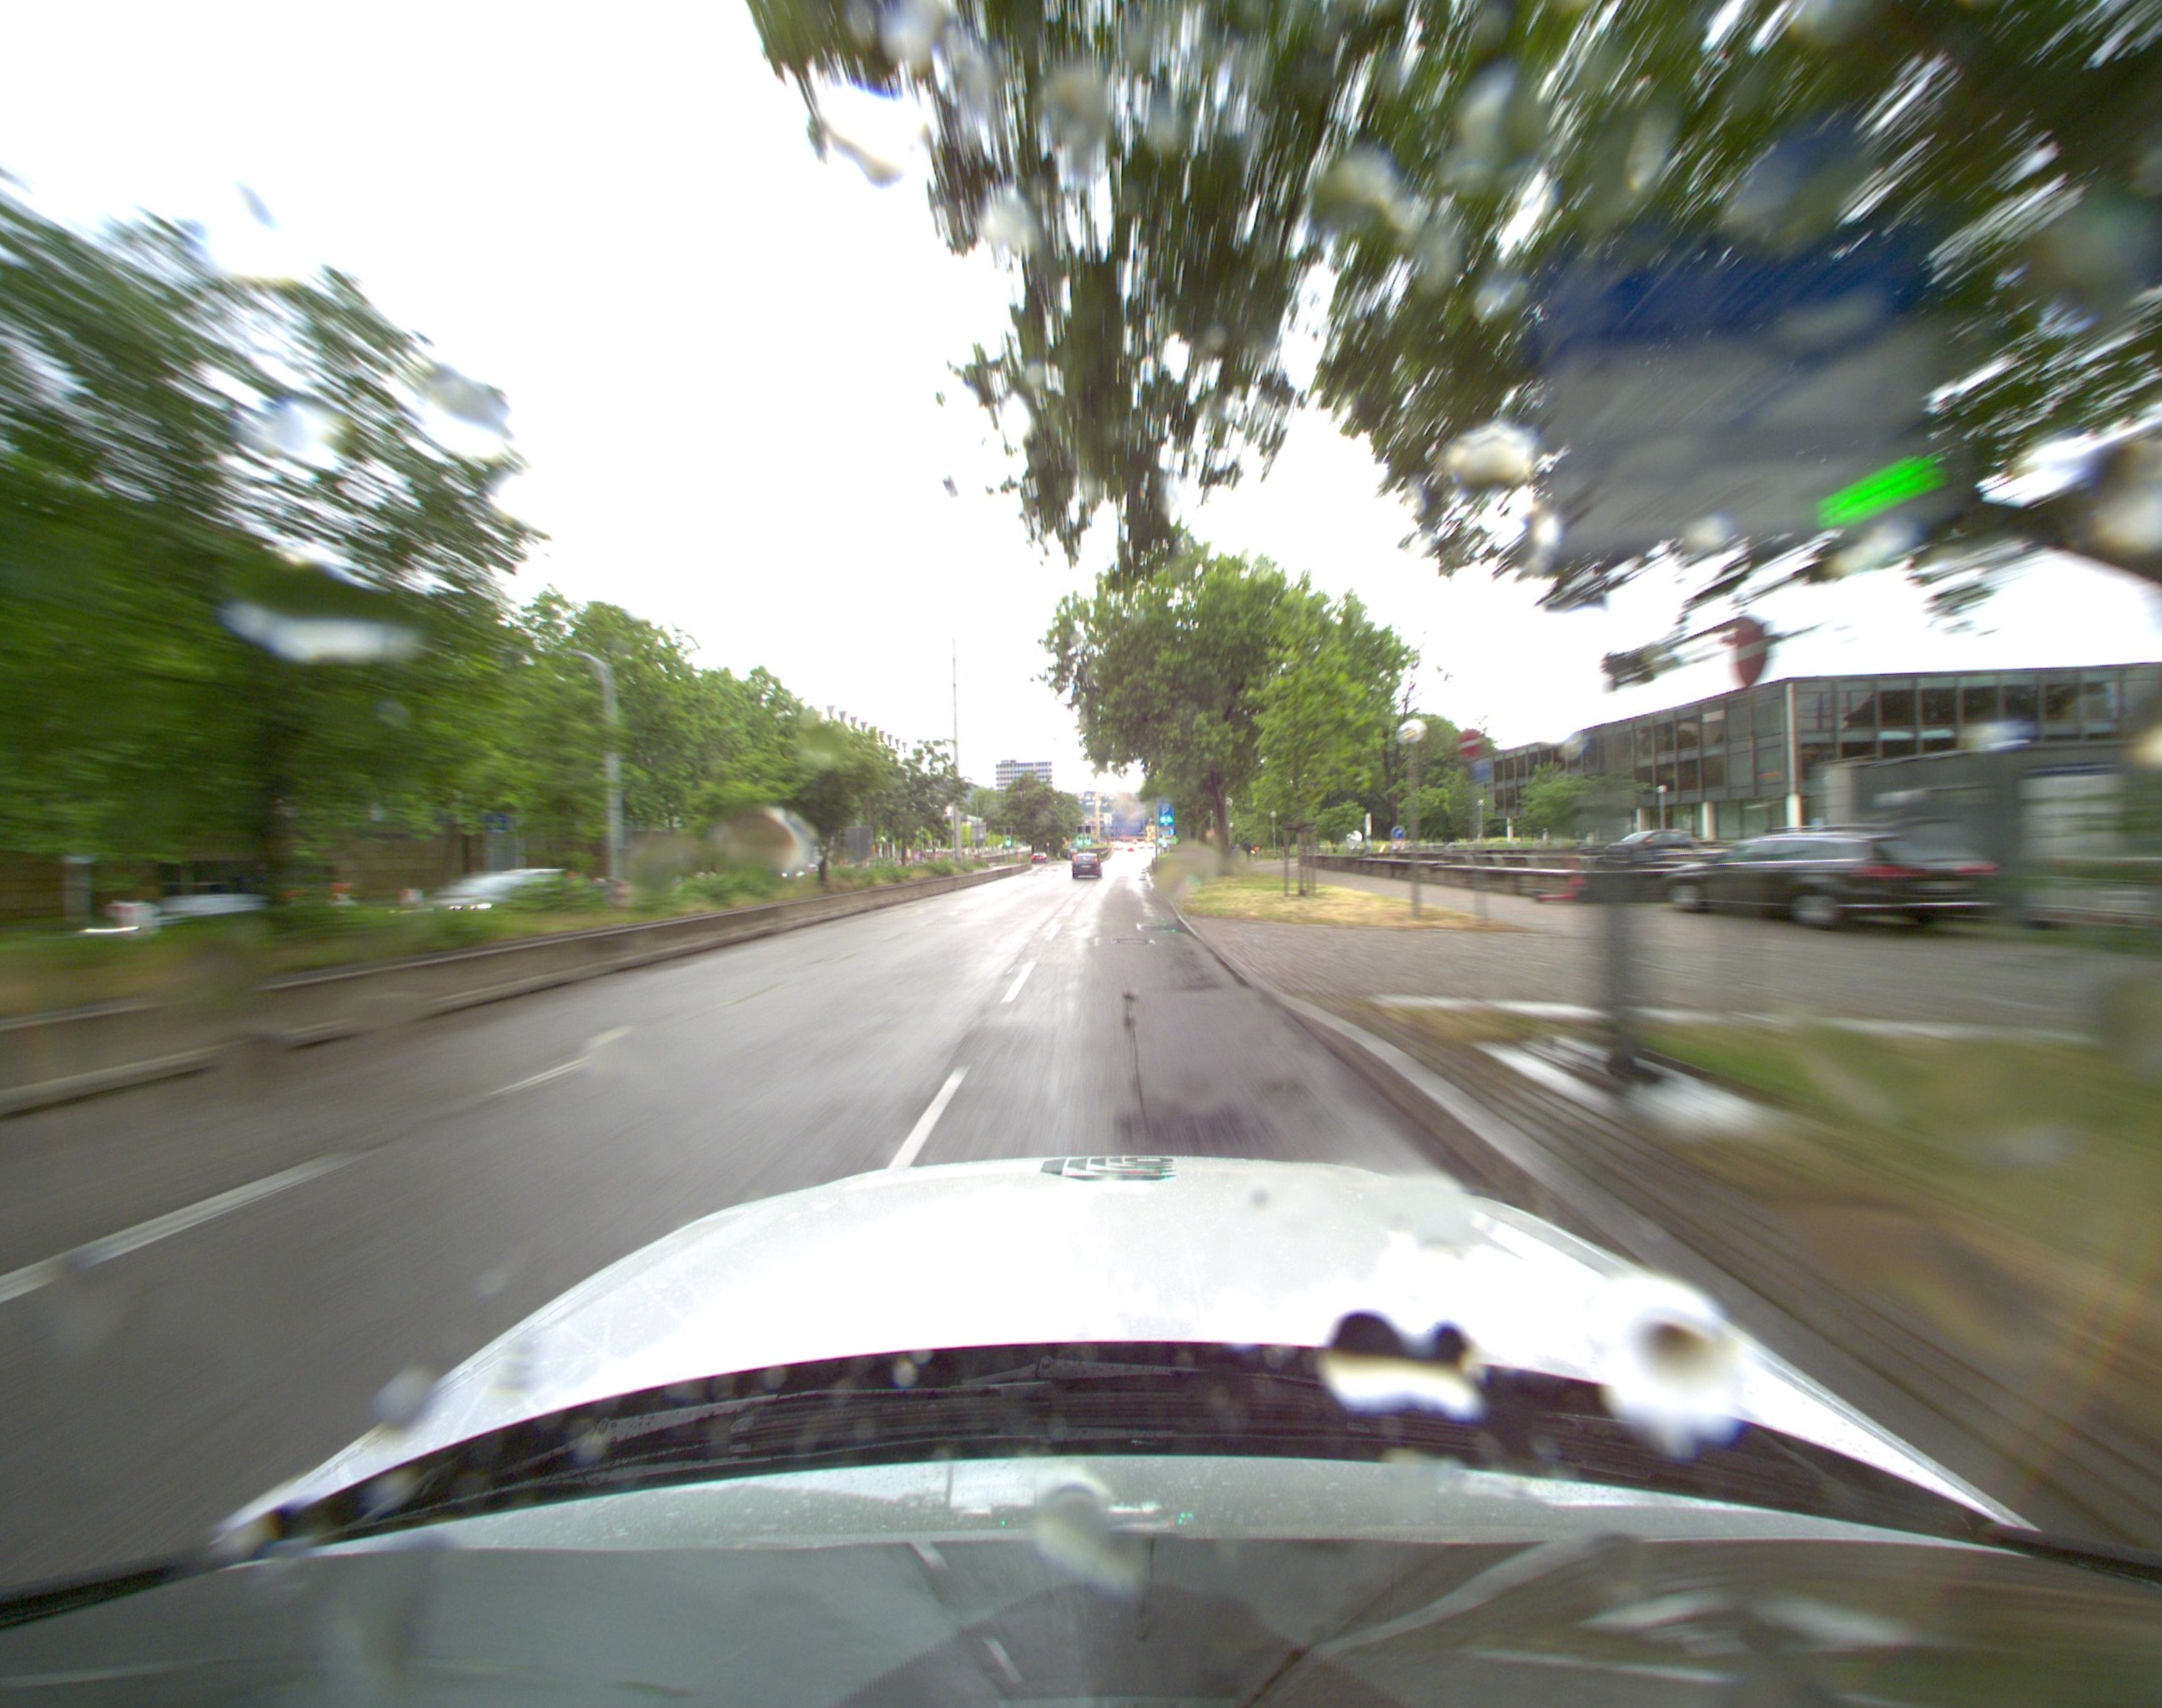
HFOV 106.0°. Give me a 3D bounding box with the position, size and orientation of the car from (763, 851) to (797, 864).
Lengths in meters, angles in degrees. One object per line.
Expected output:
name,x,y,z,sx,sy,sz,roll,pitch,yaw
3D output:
car,-42.937,0.486,116.109,3.973,1.596,2.000,-2,0,0

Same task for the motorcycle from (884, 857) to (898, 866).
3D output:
motorcycle,-27.299,1.077,116.845,1.843,1.154,0.423,-3,0,-25

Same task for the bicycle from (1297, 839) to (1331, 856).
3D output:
bicycle,16.441,-0.469,57.527,2.033,1.173,0.957,-2,1,-8

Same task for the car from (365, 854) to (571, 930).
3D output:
car,-14.786,0.845,19.985,1.988,1.596,3.998,-2,0,-1

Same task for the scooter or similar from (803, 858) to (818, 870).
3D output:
scooter or similar,-33.403,1.222,100.614,0.706,1.351,1.684,-4,-1,23

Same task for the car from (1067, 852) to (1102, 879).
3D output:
car,0.174,0.660,47.814,1.839,1.416,3.836,-3,-1,-2

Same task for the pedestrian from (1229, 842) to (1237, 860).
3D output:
pedestrian,15.115,-0.322,81.204,0.592,1.755,0.725,-3,1,1

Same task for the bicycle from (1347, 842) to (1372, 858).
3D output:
bicycle,20.850,-0.317,60.926,1.637,1.085,0.709,-2,1,-3

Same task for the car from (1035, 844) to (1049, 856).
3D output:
car,-5.801,-0.591,122.533,1.988,1.632,3.998,-2,0,-2

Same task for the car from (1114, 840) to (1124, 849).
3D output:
car,11.404,-2.854,245.694,2.206,2.014,4.010,-6,-5,10

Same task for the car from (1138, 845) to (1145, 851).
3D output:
car,19.484,-1.921,261.338,1.978,2.013,4.005,-1,0,4

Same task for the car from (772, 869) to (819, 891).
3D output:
car,-22.225,1.990,63.583,1.985,1.530,4.004,-3,-1,3

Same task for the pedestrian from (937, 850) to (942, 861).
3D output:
pedestrian,-26.134,0.293,150.542,0.543,2.013,0.525,-3,1,-32

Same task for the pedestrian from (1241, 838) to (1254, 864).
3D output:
pedestrian,11.194,-0.210,54.859,0.702,1.718,0.693,-3,0,3

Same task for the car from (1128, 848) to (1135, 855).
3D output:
car,13.968,-0.664,223.897,1.731,1.771,4.004,-3,-1,4

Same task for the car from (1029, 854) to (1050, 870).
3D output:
car,-5.058,1.007,99.638,1.984,1.780,4.005,-2,1,4

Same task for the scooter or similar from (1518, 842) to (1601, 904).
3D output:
scooter or similar,10.280,0.401,17.526,0.545,1.255,1.423,-3,0,-30

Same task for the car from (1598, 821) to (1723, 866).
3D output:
car,24.403,-0.432,34.417,3.969,1.600,1.659,-4,0,4

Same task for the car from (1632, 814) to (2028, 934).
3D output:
car,12.129,0.204,13.876,1.987,1.609,5.237,-1,2,1
